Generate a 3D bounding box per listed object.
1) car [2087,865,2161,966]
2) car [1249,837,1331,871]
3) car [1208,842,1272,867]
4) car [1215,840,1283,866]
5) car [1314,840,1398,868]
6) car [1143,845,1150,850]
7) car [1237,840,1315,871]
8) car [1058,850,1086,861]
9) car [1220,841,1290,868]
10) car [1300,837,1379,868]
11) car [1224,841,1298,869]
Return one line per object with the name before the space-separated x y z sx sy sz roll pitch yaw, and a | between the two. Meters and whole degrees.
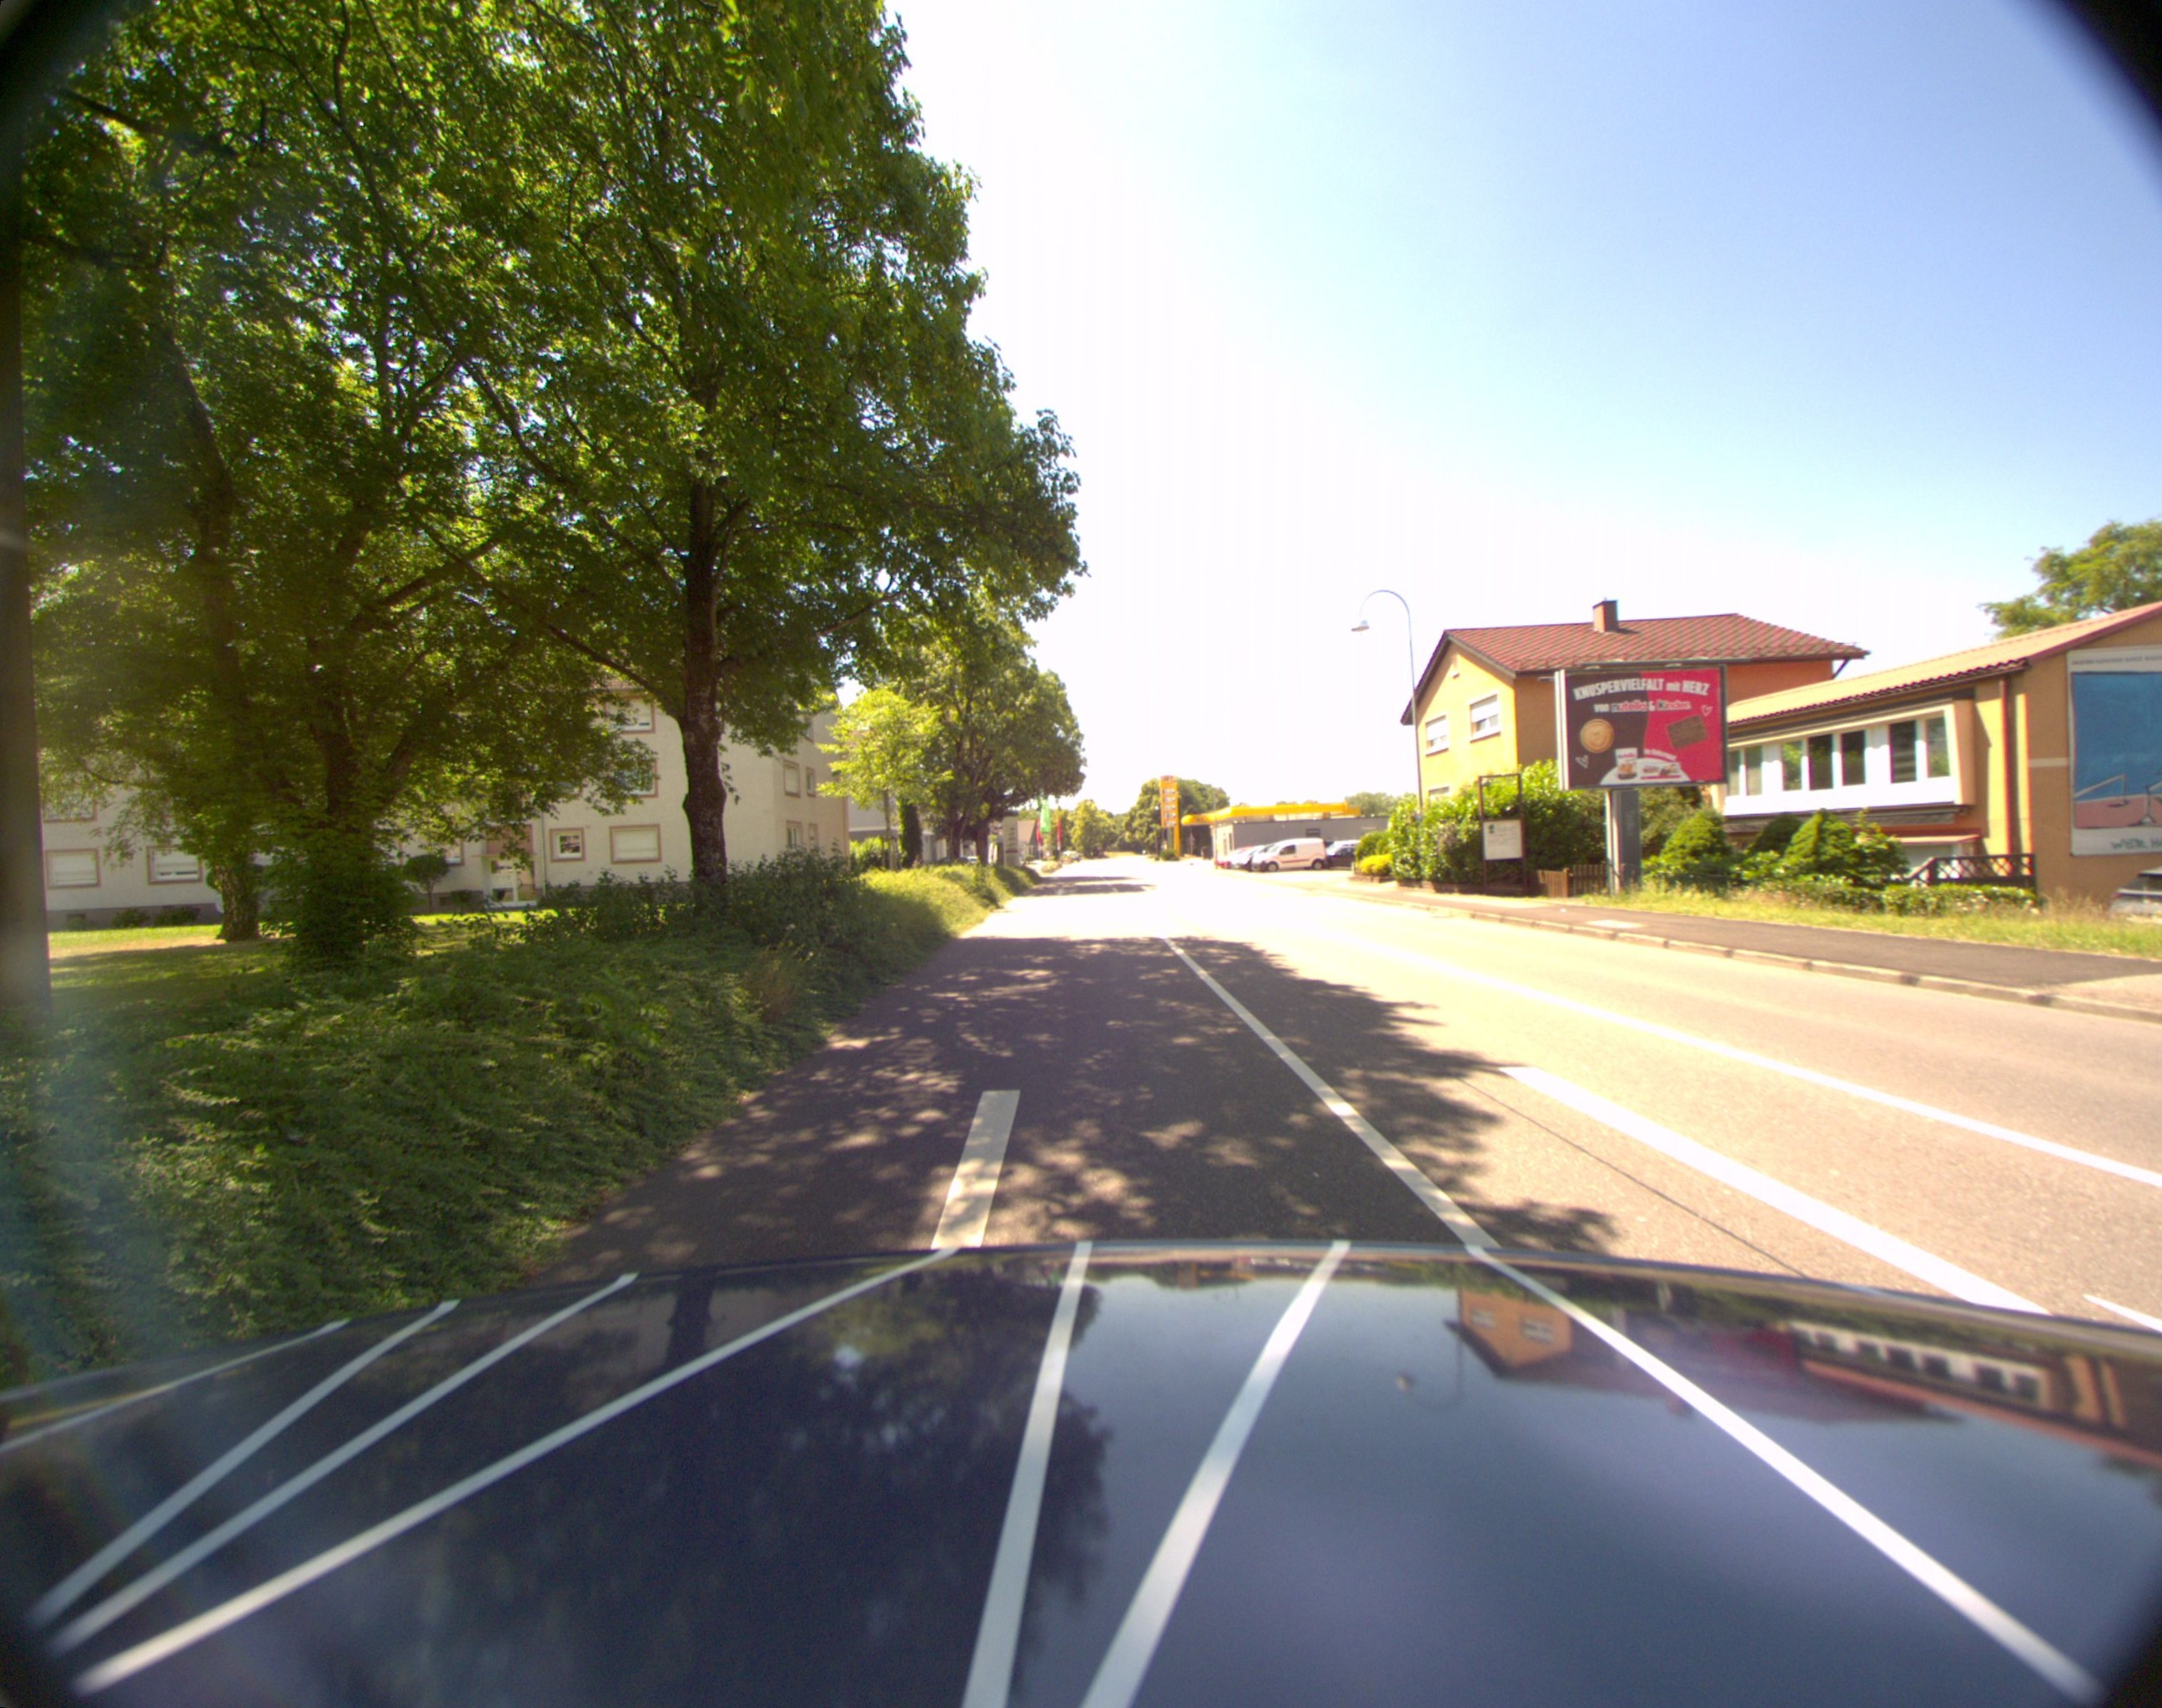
car | 19.905 0.985 12.397 4.224 1.599 1.772 -1 1 7
car | 12.191 -0.024 44.419 4.191 1.858 1.874 -2 1 -5
car | 12.087 0.019 58.057 4.402 1.750 1.874 -2 1 -5
car | 12.246 -0.047 55.501 4.402 1.750 1.874 -2 1 -5
car | 16.745 0.011 46.373 4.402 1.554 1.874 -2 1 -5
car | 20.168 -1.921 234.551 1.808 1.552 4.065 -2 1 7
car | 11.906 0.077 46.512 4.246 1.750 1.874 -2 1 -5
car | -1.460 0.239 120.459 4.119 1.521 1.776 -1 1 32
car | 12.198 0.020 53.340 4.402 1.750 1.874 -2 1 -5
car | 16.496 -0.126 48.567 4.402 1.815 1.874 -2 1 -5
car | 12.058 0.079 51.060 4.402 1.750 1.874 -2 1 -5
